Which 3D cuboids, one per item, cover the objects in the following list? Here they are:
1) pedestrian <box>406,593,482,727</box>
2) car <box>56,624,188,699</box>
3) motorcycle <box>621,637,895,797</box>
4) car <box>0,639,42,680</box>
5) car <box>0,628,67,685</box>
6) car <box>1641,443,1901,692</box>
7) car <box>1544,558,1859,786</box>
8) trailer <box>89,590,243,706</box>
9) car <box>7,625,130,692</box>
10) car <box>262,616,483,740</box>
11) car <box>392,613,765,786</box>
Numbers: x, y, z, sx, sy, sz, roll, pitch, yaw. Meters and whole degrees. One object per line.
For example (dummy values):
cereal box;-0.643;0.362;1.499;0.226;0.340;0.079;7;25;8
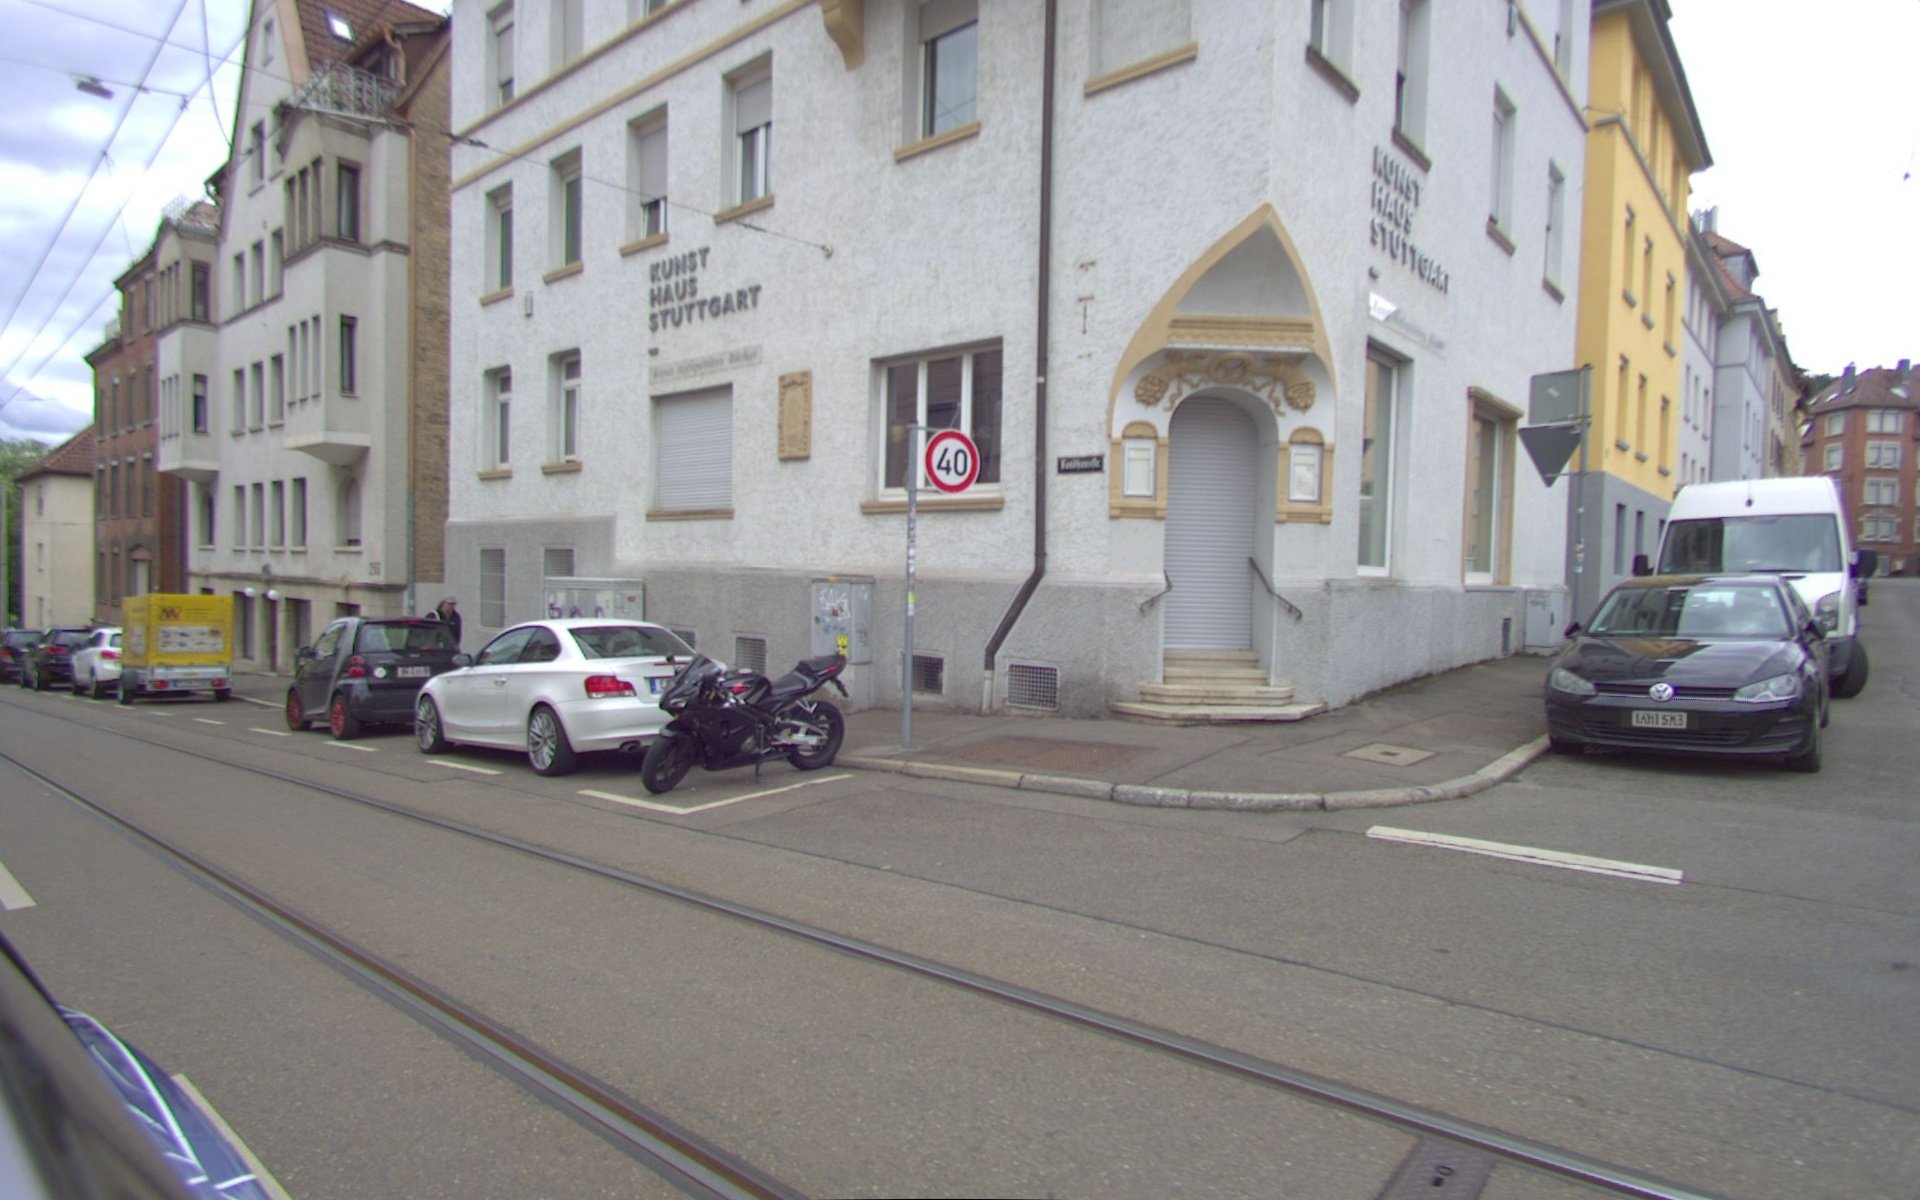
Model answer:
pedestrian;-7.765;0.884;15.224;0.810;1.919;0.583;-2;4;40
car;-19.626;1.409;23.650;4.266;1.606;1.679;-3;-4;41
motorcycle;-1.619;0.889;8.323;2.080;1.143;0.768;1;-3;-36
car;-34.895;2.152;36.707;4.836;1.440;1.808;-3;-4;41
car;-30.786;1.841;33.023;4.910;1.731;1.808;-3;-4;41
car;10.875;-0.382;13.418;2.191;2.551;6.127;-1;0;42
car;6.435;0.439;8.599;1.754;1.475;3.945;-1;0;42
trailer;-16.483;1.002;20.952;4.069;2.172;1.730;-3;-4;41
car;-24.381;1.571;27.614;4.889;1.677;1.854;-3;-4;41
car;-7.974;0.992;13.668;3.021;1.480;1.679;-2;-3;41
car;-4.008;0.869;10.257;4.290;1.367;1.761;-2;-1;42
